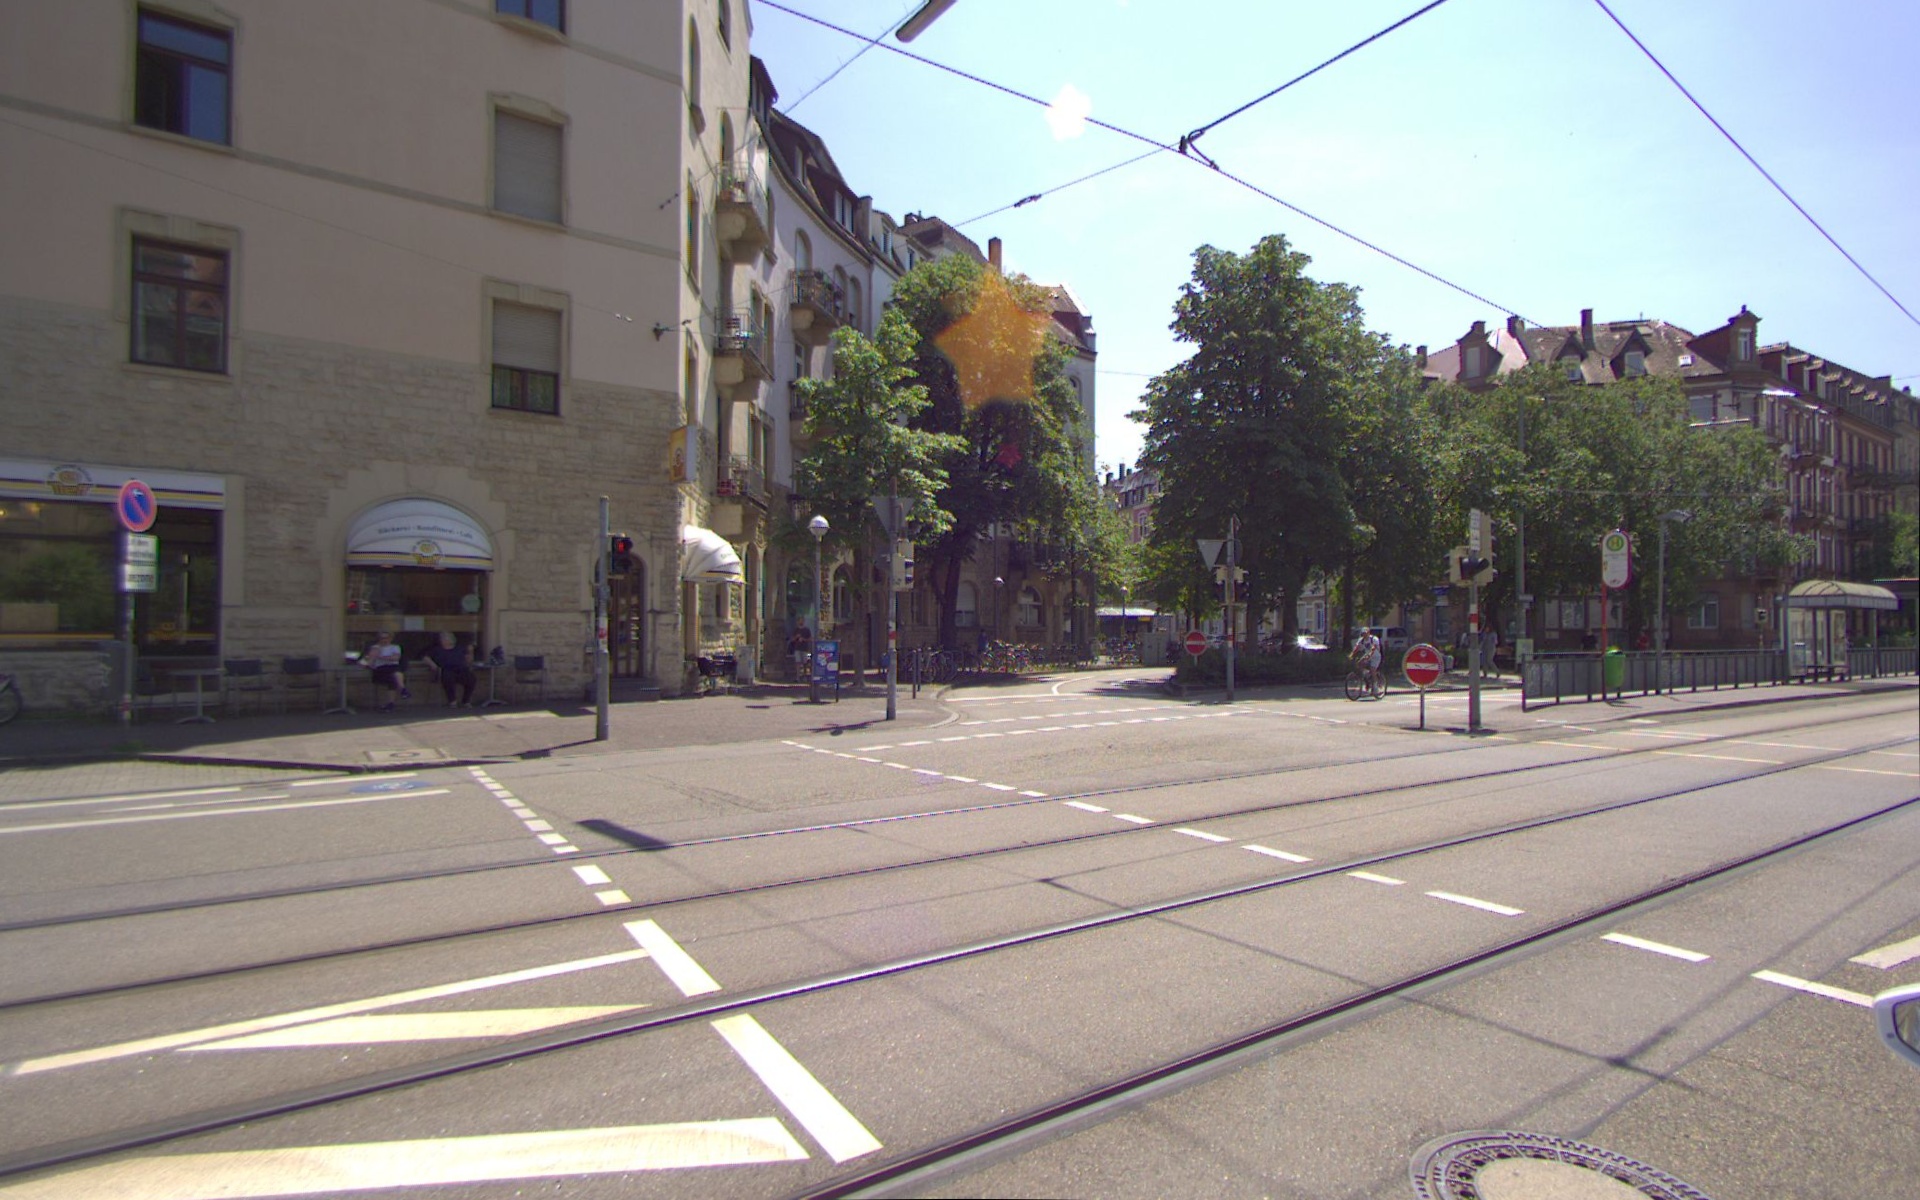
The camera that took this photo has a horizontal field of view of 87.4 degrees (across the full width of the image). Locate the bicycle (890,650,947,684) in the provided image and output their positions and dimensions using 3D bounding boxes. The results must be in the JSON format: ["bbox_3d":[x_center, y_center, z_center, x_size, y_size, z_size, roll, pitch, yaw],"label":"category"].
[{"bbox_3d":[-1.235,1.992,29.965,1.639,0.987,0.290,1,-1,7],"label":"bicycle"}]

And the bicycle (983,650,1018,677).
[{"bbox_3d":[1.553,2.435,38.778,1.470,0.969,0.407,-1,-2,44],"label":"bicycle"}]

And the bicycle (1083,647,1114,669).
[{"bbox_3d":[6.327,2.648,45.916,1.470,0.969,0.407,-1,-2,44],"label":"bicycle"}]

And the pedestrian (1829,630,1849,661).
[{"bbox_3d":[47.393,2.458,54.138,0.640,1.637,0.470,0,1,12],"label":"pedestrian"}]

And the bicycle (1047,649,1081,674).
[{"bbox_3d":[4.360,2.567,42.114,1.470,0.969,0.407,-1,-2,44],"label":"bicycle"}]

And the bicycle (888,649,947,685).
[{"bbox_3d":[-1.205,1.899,28.635,1.639,0.987,0.290,1,-1,7],"label":"bicycle"}]

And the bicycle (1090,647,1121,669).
[{"bbox_3d":[6.721,2.652,46.387,1.470,0.969,0.407,-1,-2,44],"label":"bicycle"}]

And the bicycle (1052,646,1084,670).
[{"bbox_3d":[4.685,2.511,43.605,1.470,0.969,0.407,-1,-2,44],"label":"bicycle"}]

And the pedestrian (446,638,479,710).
[{"bbox_3d":[-8.292,1.221,16.736,0.402,1.163,0.402,2,-2,-39],"label":"pedestrian"}]

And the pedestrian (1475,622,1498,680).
[{"bbox_3d":[17.621,1.695,33.602,0.488,1.904,0.508,1,-2,-31],"label":"pedestrian"}]

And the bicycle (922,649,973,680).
[{"bbox_3d":[-0.413,2.096,32.839,1.639,0.987,0.290,1,-1,7],"label":"bicycle"}]

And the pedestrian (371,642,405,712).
[{"bbox_3d":[-9.230,1.228,16.202,0.402,1.103,0.352,2,-2,-39],"label":"pedestrian"}]

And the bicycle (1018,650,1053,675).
[{"bbox_3d":[3.044,2.514,40.689,1.470,0.969,0.407,-1,-2,44],"label":"bicycle"}]

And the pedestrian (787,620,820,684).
[{"bbox_3d":[-4.328,1.433,27.801,0.722,1.754,0.540,2,-2,-38],"label":"pedestrian"}]

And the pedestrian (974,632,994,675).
[{"bbox_3d":[1.034,2.280,42.758,0.618,1.800,0.606,1,-2,-32],"label":"pedestrian"}]

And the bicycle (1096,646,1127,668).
[{"bbox_3d":[7.070,2.666,46.798,1.470,0.969,0.407,-1,-2,44],"label":"bicycle"}]

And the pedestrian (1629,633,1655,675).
[{"bbox_3d":[26.883,2.106,39.585,0.766,1.626,0.674,2,-2,-39],"label":"pedestrian"}]

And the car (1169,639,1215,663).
[{"bbox_3d":[15.086,3.315,65.446,1.514,1.461,3.734,1,-2,-11],"label":"car"}]

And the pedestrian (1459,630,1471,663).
[{"bbox_3d":[29.232,2.679,58.110,0.555,1.849,0.634,0,-2,32],"label":"pedestrian"}]

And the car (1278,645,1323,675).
[{"bbox_3d":[19.184,3.354,56.722,1.551,1.596,3.590,1,-2,4],"label":"car"}]

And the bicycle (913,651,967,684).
[{"bbox_3d":[-0.612,2.098,31.133,1.639,0.987,0.290,1,-1,7],"label":"bicycle"}]

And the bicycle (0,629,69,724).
[{"bbox_3d":[-13.206,1.007,13.315,2.046,1.241,0.454,1,-1,-17],"label":"bicycle"}]

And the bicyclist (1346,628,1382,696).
[{"bbox_3d":[9.709,1.476,24.141,0.580,1.595,0.604,2,-2,-36],"label":"bicyclist"}]

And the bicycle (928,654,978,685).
[{"bbox_3d":[-0.223,2.334,33.804,1.639,0.987,0.290,1,-1,7],"label":"bicycle"}]

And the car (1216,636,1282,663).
[{"bbox_3d":[16.666,2.828,58.069,1.522,1.461,3.716,1,-2,-27],"label":"car"}]

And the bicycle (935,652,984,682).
[{"bbox_3d":[-0.007,2.277,34.338,1.639,0.987,0.290,1,-1,7],"label":"bicycle"}]

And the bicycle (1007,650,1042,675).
[{"bbox_3d":[2.563,2.493,40.081,1.470,0.969,0.407,-1,-2,44],"label":"bicycle"}]

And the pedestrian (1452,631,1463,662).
[{"bbox_3d":[29.207,2.740,58.967,0.499,1.791,0.528,0,-2,32],"label":"pedestrian"}]

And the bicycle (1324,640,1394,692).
[{"bbox_3d":[9.576,1.557,24.081,1.959,1.172,0.624,1,-1,-37],"label":"bicycle"}]

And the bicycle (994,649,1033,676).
[{"bbox_3d":[2.092,2.459,39.541,1.649,0.987,0.388,-1,-2,43],"label":"bicycle"}]

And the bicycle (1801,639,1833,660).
[{"bbox_3d":[48.406,2.798,56.737,1.489,1.185,0.365,0,0,1],"label":"bicycle"}]

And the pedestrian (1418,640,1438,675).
[{"bbox_3d":[16.937,2.071,36.326,0.539,1.272,0.646,0,-1,14],"label":"pedestrian"}]

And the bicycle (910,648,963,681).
[{"bbox_3d":[-0.732,2.019,31.472,1.639,0.987,0.290,1,-1,7],"label":"bicycle"}]

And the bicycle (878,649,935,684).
[{"bbox_3d":[-1.564,1.948,29.621,1.639,0.987,0.290,1,-1,7],"label":"bicycle"}]

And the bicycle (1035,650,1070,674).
[{"bbox_3d":[3.817,2.552,41.522,1.470,0.969,0.407,-1,-2,44],"label":"bicycle"}]

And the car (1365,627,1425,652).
[{"bbox_3d":[26.144,2.380,60.491,1.514,1.461,3.734,1,-2,-11],"label":"car"}]

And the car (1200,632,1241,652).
[{"bbox_3d":[21.546,3.476,83.273,1.729,1.639,3.993,0,-2,-11],"label":"car"}]

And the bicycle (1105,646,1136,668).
[{"bbox_3d":[7.520,2.680,47.201,1.470,0.969,0.407,-1,-2,44],"label":"bicycle"}]
